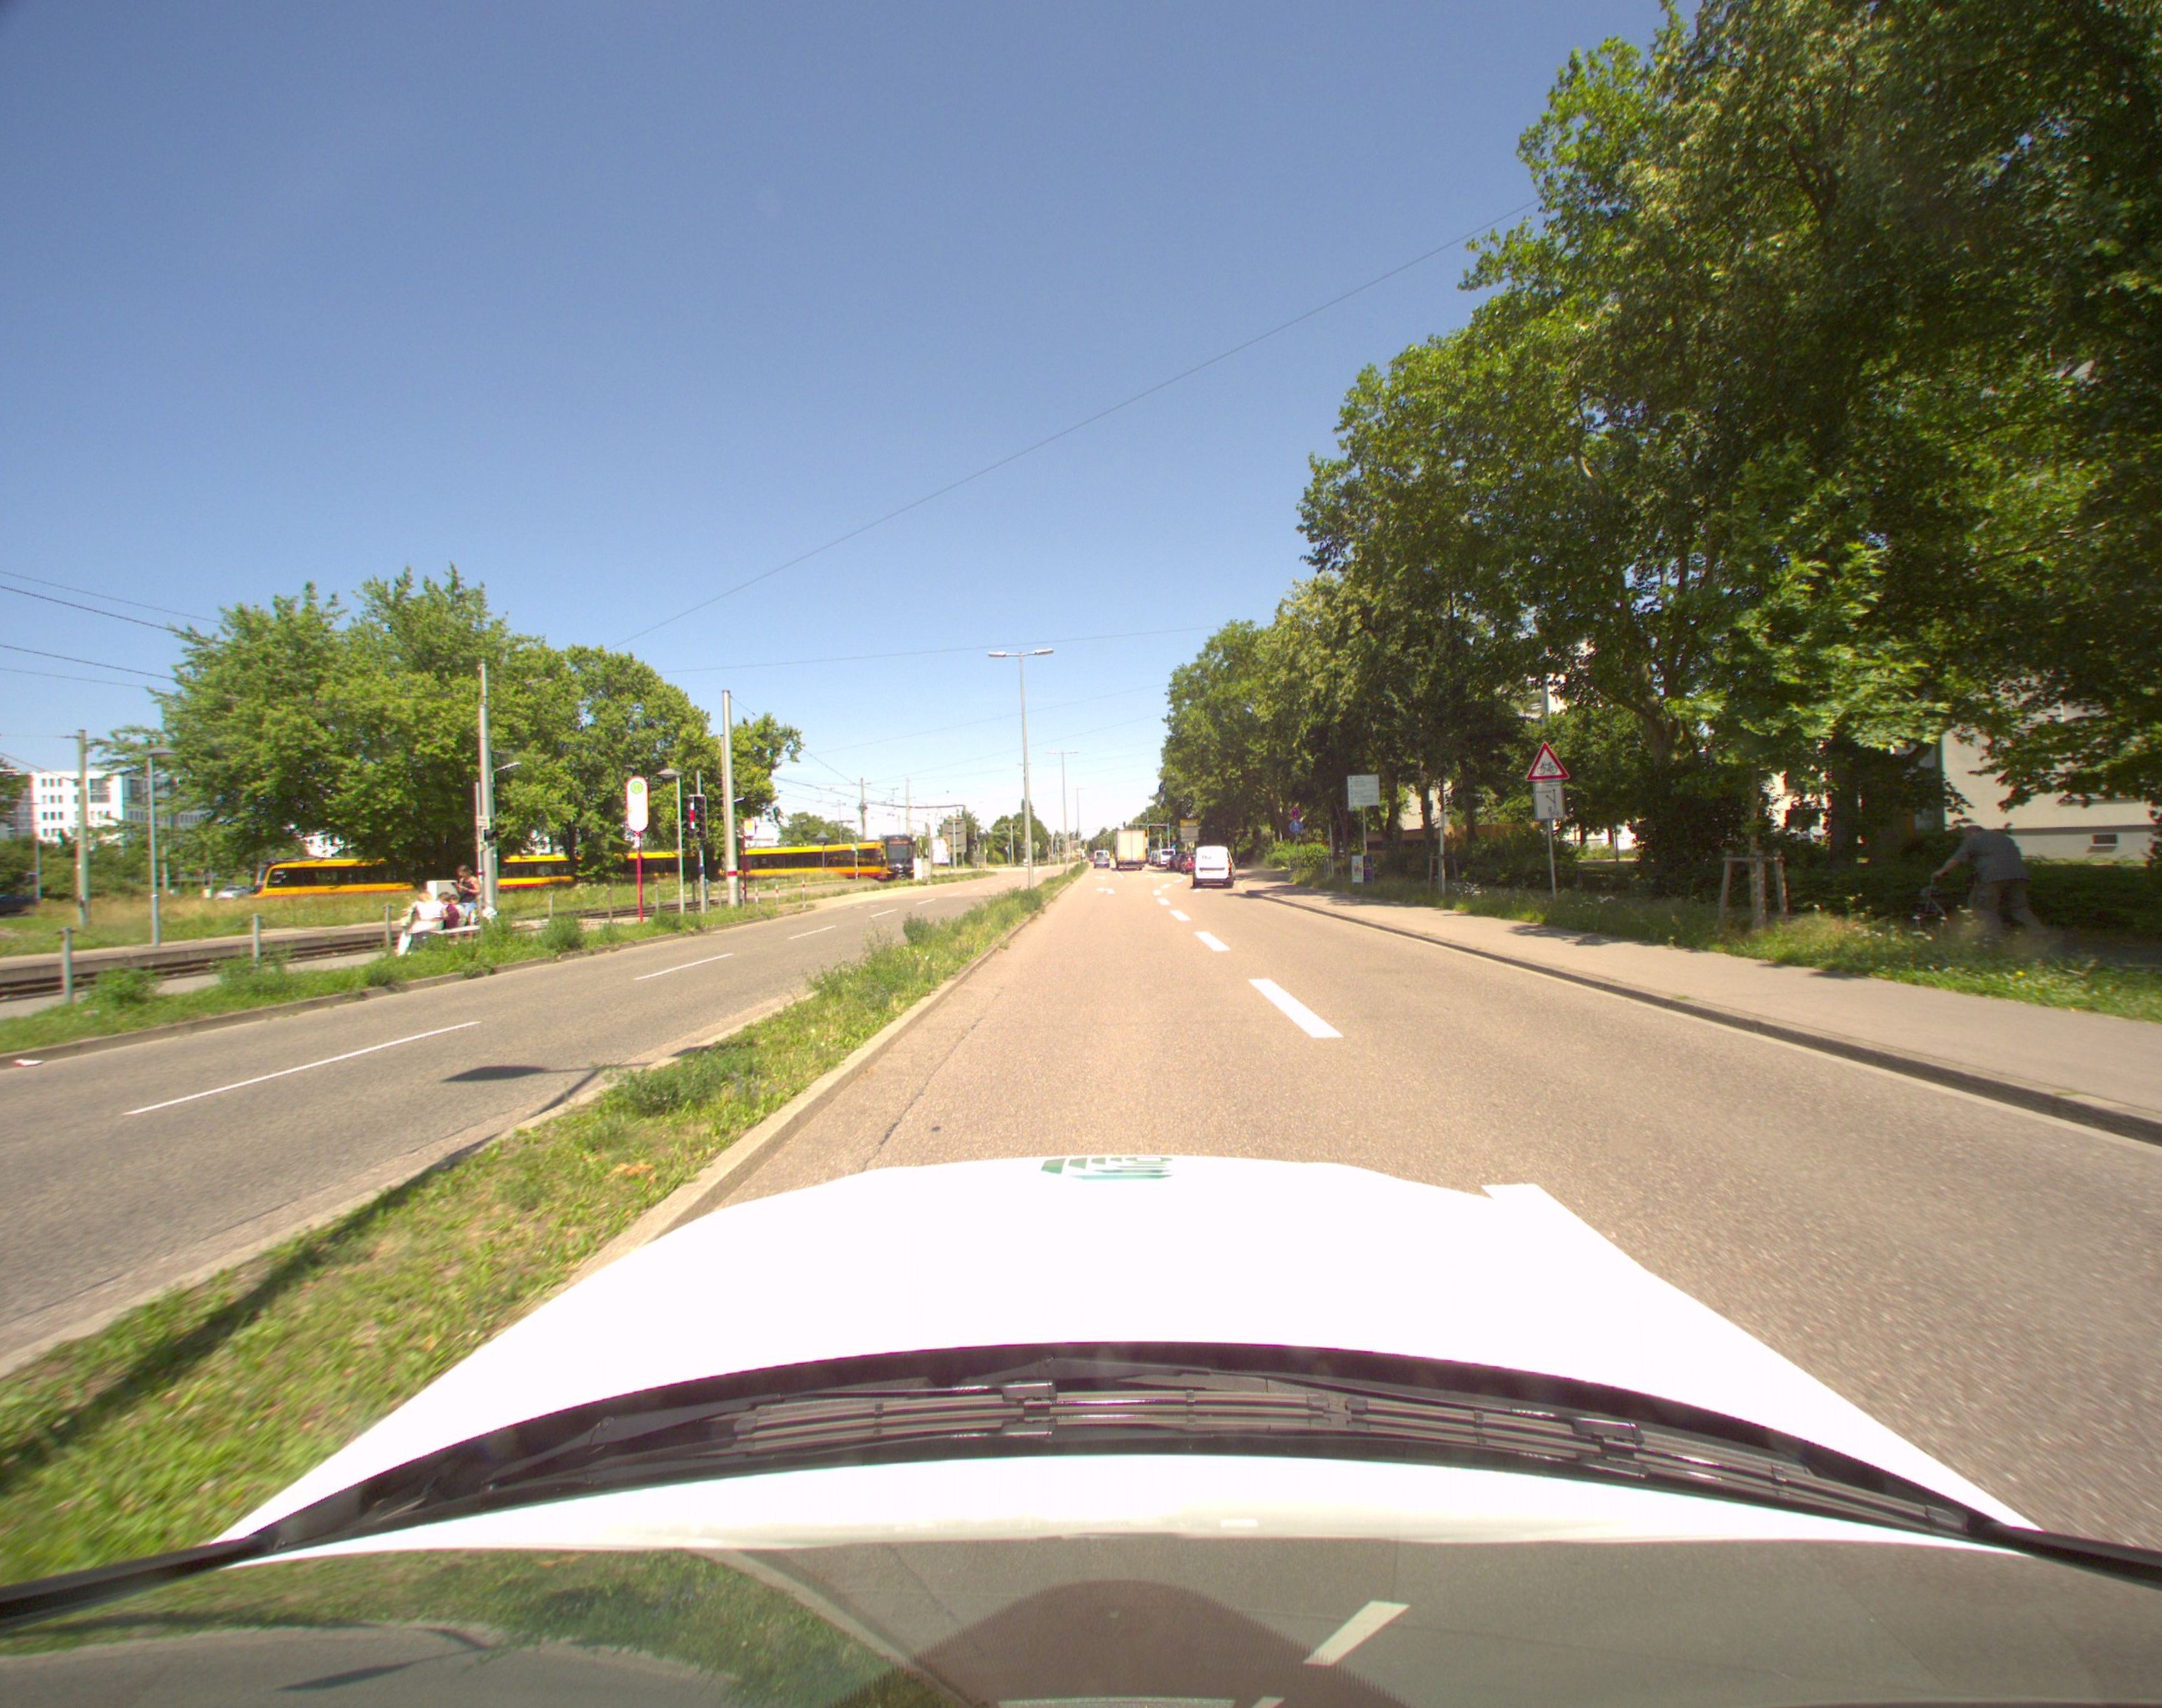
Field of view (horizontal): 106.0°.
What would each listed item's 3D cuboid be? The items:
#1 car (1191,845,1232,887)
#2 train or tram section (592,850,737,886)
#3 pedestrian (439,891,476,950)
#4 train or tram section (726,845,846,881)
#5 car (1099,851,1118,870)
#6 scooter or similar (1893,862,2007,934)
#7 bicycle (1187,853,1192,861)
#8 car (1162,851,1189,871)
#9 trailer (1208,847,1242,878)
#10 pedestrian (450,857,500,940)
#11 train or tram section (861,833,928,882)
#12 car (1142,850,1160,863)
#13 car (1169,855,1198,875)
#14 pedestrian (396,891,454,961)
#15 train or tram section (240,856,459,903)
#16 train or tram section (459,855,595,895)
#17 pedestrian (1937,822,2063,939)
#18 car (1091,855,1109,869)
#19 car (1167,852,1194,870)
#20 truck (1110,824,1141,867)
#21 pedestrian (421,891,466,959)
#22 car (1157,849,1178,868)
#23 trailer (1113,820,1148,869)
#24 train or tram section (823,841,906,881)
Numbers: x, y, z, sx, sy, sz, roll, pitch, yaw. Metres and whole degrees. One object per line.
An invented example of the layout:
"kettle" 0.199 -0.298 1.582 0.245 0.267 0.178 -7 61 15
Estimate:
"car" 5.816 0.515 36.240 1.699 1.747 4.439 -1 0 10
"train or tram section" -42.174 1.348 82.967 12.737 3.466 3.029 -1 0 -17
"pedestrian" -11.675 1.239 15.256 0.381 1.058 0.377 -1 0 -1
"train or tram section" -29.780 0.909 82.052 12.597 3.466 3.063 -1 0 22
"car" 3.344 0.743 98.838 1.988 2.111 4.745 -1 1 -2
"scooter or similar" 11.446 0.566 10.752 0.705 0.893 0.763 -1 0 2
"bicycle" 17.442 0.456 130.718 0.640 1.304 1.631 -4 -1 12
"car" 7.867 0.557 68.155 1.852 1.549 3.886 -1 0 0
"trailer" 8.227 0.466 46.721 1.464 1.669 2.855 -1 0 0
"pedestrian" -11.807 0.852 15.876 0.533 1.565 0.582 -1 0 0
"train or tram section" -15.075 0.257 64.910 3.049 3.466 13.192 -1 0 -22
"car" 8.882 0.283 103.366 1.986 1.437 4.252 -1 1 1
"car" 7.470 0.772 59.612 1.649 1.396 4.266 -1 0 0
"pedestrian" -11.609 1.264 14.428 0.579 1.189 0.536 -1 0 0
"train or tram section" -60.814 1.998 68.409 3.007 3.466 13.350 -1 0 34
"train or tram section" -52.527 1.895 77.518 3.008 3.466 10.284 -1 0 44
"pedestrian" 11.419 0.315 10.146 0.705 1.398 0.763 -1 0 2
"car" 2.122 0.922 91.325 1.886 1.372 4.430 1 -2 1
"car" 9.274 0.618 76.062 1.986 1.503 4.504 -2 0 1
"truck" 4.612 -0.911 86.693 2.818 4.344 8.282 0 1 0
"pedestrian" -11.659 1.291 14.908 0.492 1.189 0.400 -1 0 0
"car" 9.521 0.492 90.154 1.885 2.121 3.886 -1 0 0
"trailer" 4.643 -0.867 78.184 2.818 4.421 8.748 -1 0 0
"train or tram section" -20.217 0.615 75.397 3.063 3.466 10.100 -1 0 -43
